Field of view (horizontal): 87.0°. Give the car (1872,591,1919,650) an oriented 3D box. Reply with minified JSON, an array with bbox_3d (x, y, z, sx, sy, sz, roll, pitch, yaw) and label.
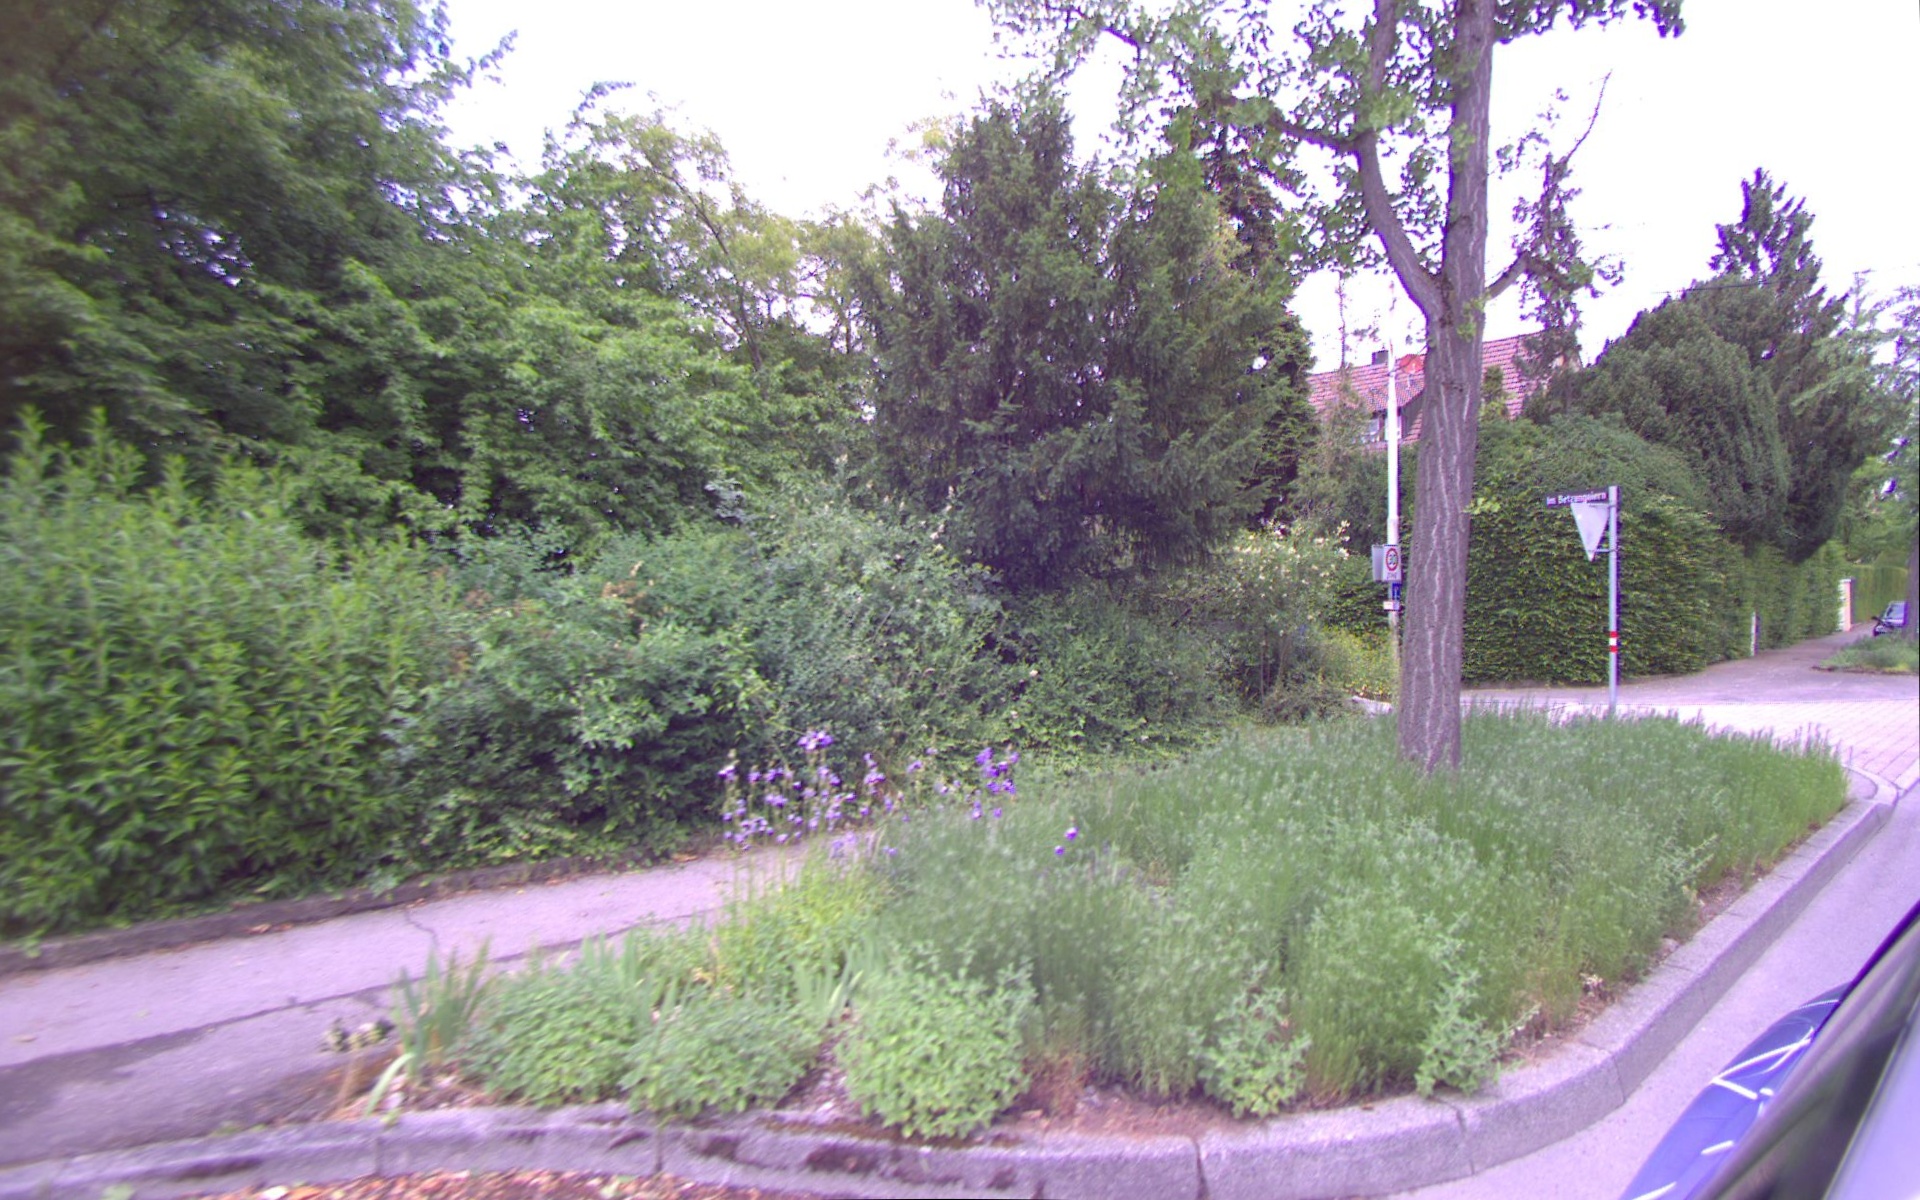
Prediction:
[{"bbox_3d":[26.446,0.523,27.837,3.676,1.491,1.625,-1,0,-42],"label":"car"}]
